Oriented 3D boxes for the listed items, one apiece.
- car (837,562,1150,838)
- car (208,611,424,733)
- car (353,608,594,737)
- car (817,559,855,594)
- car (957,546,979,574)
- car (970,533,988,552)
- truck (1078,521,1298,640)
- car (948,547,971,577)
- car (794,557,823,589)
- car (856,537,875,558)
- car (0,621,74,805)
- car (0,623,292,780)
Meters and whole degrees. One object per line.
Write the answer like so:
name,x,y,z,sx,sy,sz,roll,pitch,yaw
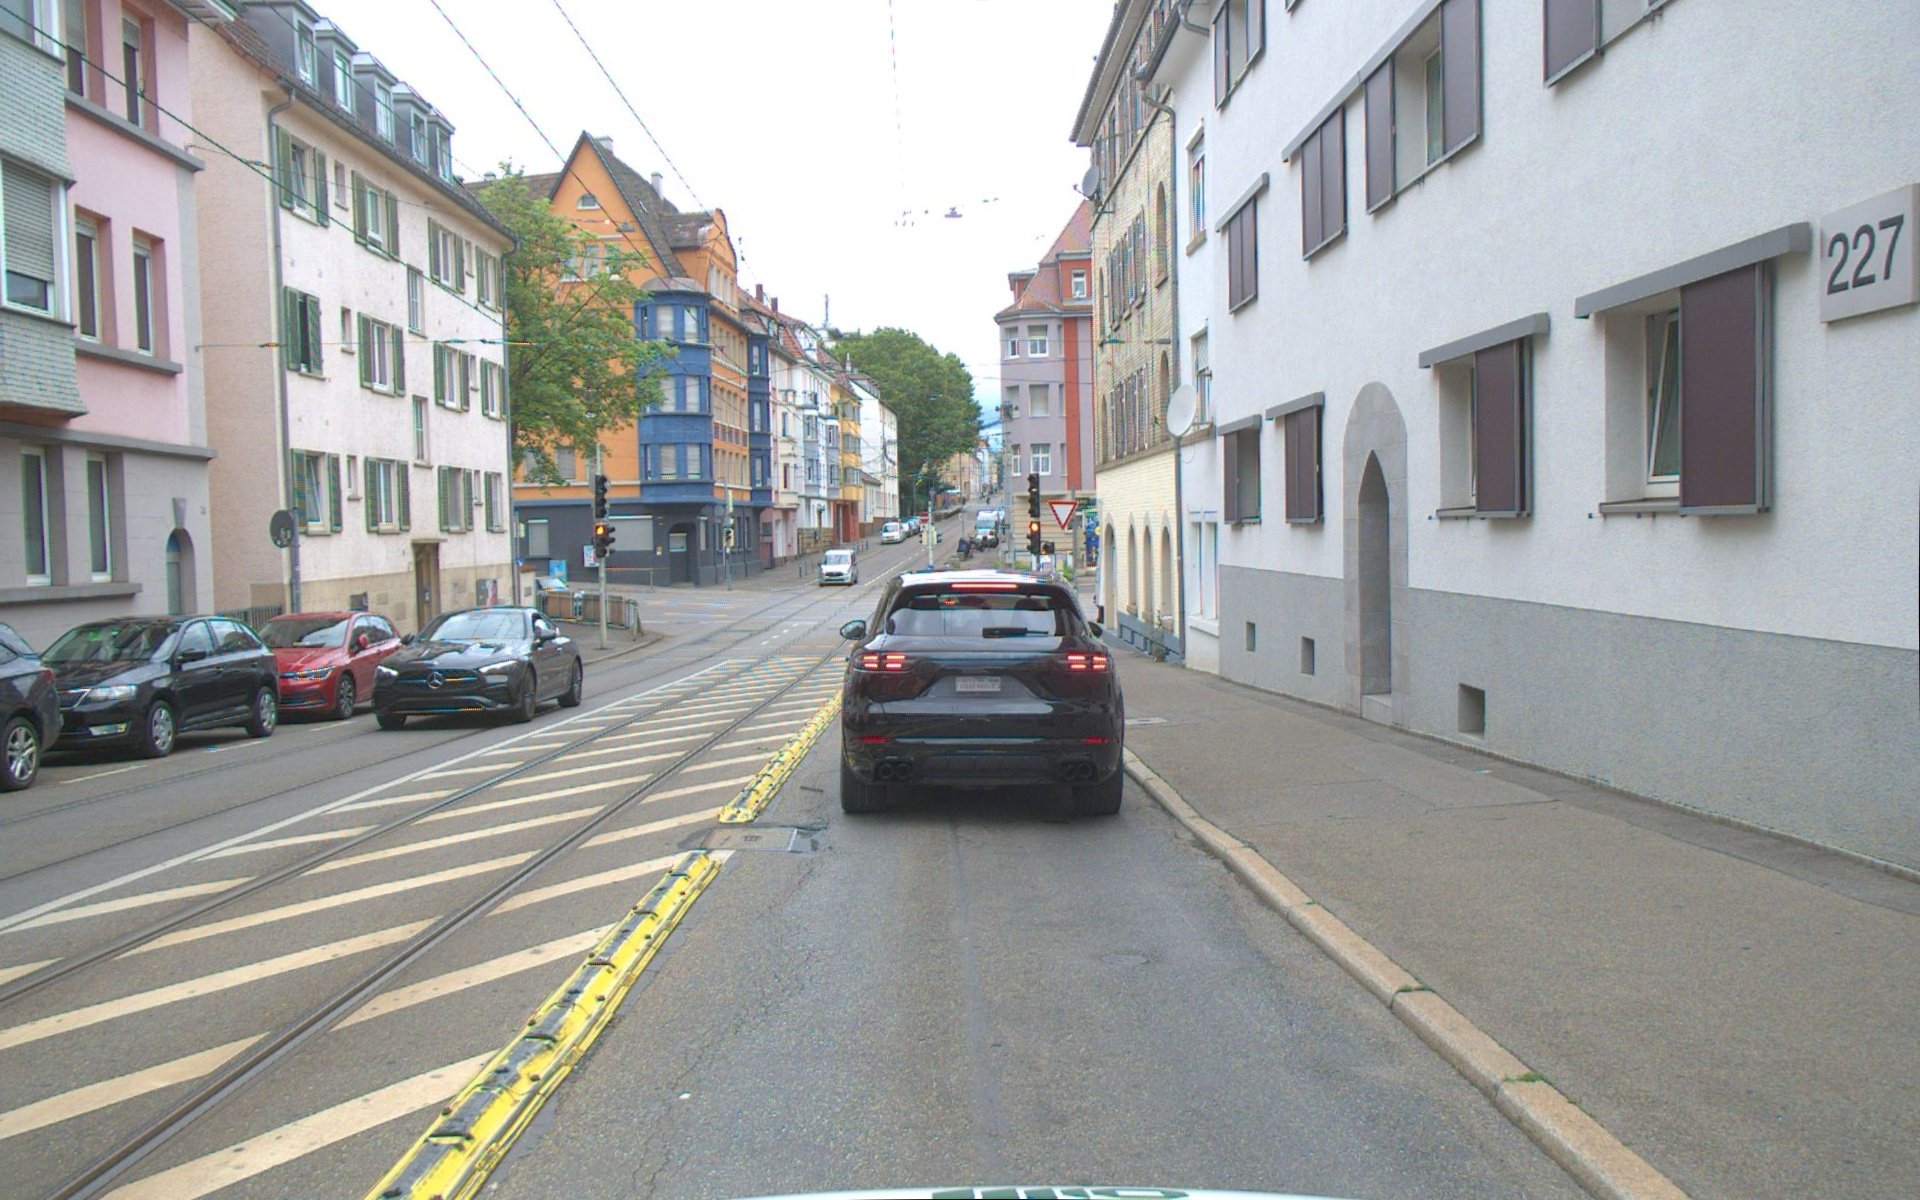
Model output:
car,0.169,0.634,12.489,1.953,1.705,3.999,-1,0,-1
car,-9.043,0.962,23.570,1.588,1.516,4.045,-2,-1,-2
car,-6.166,0.850,21.520,1.882,1.449,4.496,-1,0,-2
car,-6.585,-1.235,88.129,1.715,1.790,4.253,-1,0,0
car,0.525,-2.695,110.915,1.366,1.752,3.358,-1,0,0
car,1.542,-4.719,135.856,1.366,1.476,3.358,-1,0,0
truck,6.999,-0.557,50.906,6.256,3.430,2.345,-1,0,27
car,-0.021,-2.353,103.813,1.366,1.752,3.358,-1,0,0
car,-8.908,-1.574,97.224,1.366,1.752,3.358,-1,0,0
car,-7.572,-4.202,132.752,1.366,1.476,3.358,-1,0,0
car,-8.625,0.937,12.323,1.588,1.499,4.555,-2,-1,-1
car,-8.912,1.014,17.975,1.701,1.435,3.999,-1,0,-1
